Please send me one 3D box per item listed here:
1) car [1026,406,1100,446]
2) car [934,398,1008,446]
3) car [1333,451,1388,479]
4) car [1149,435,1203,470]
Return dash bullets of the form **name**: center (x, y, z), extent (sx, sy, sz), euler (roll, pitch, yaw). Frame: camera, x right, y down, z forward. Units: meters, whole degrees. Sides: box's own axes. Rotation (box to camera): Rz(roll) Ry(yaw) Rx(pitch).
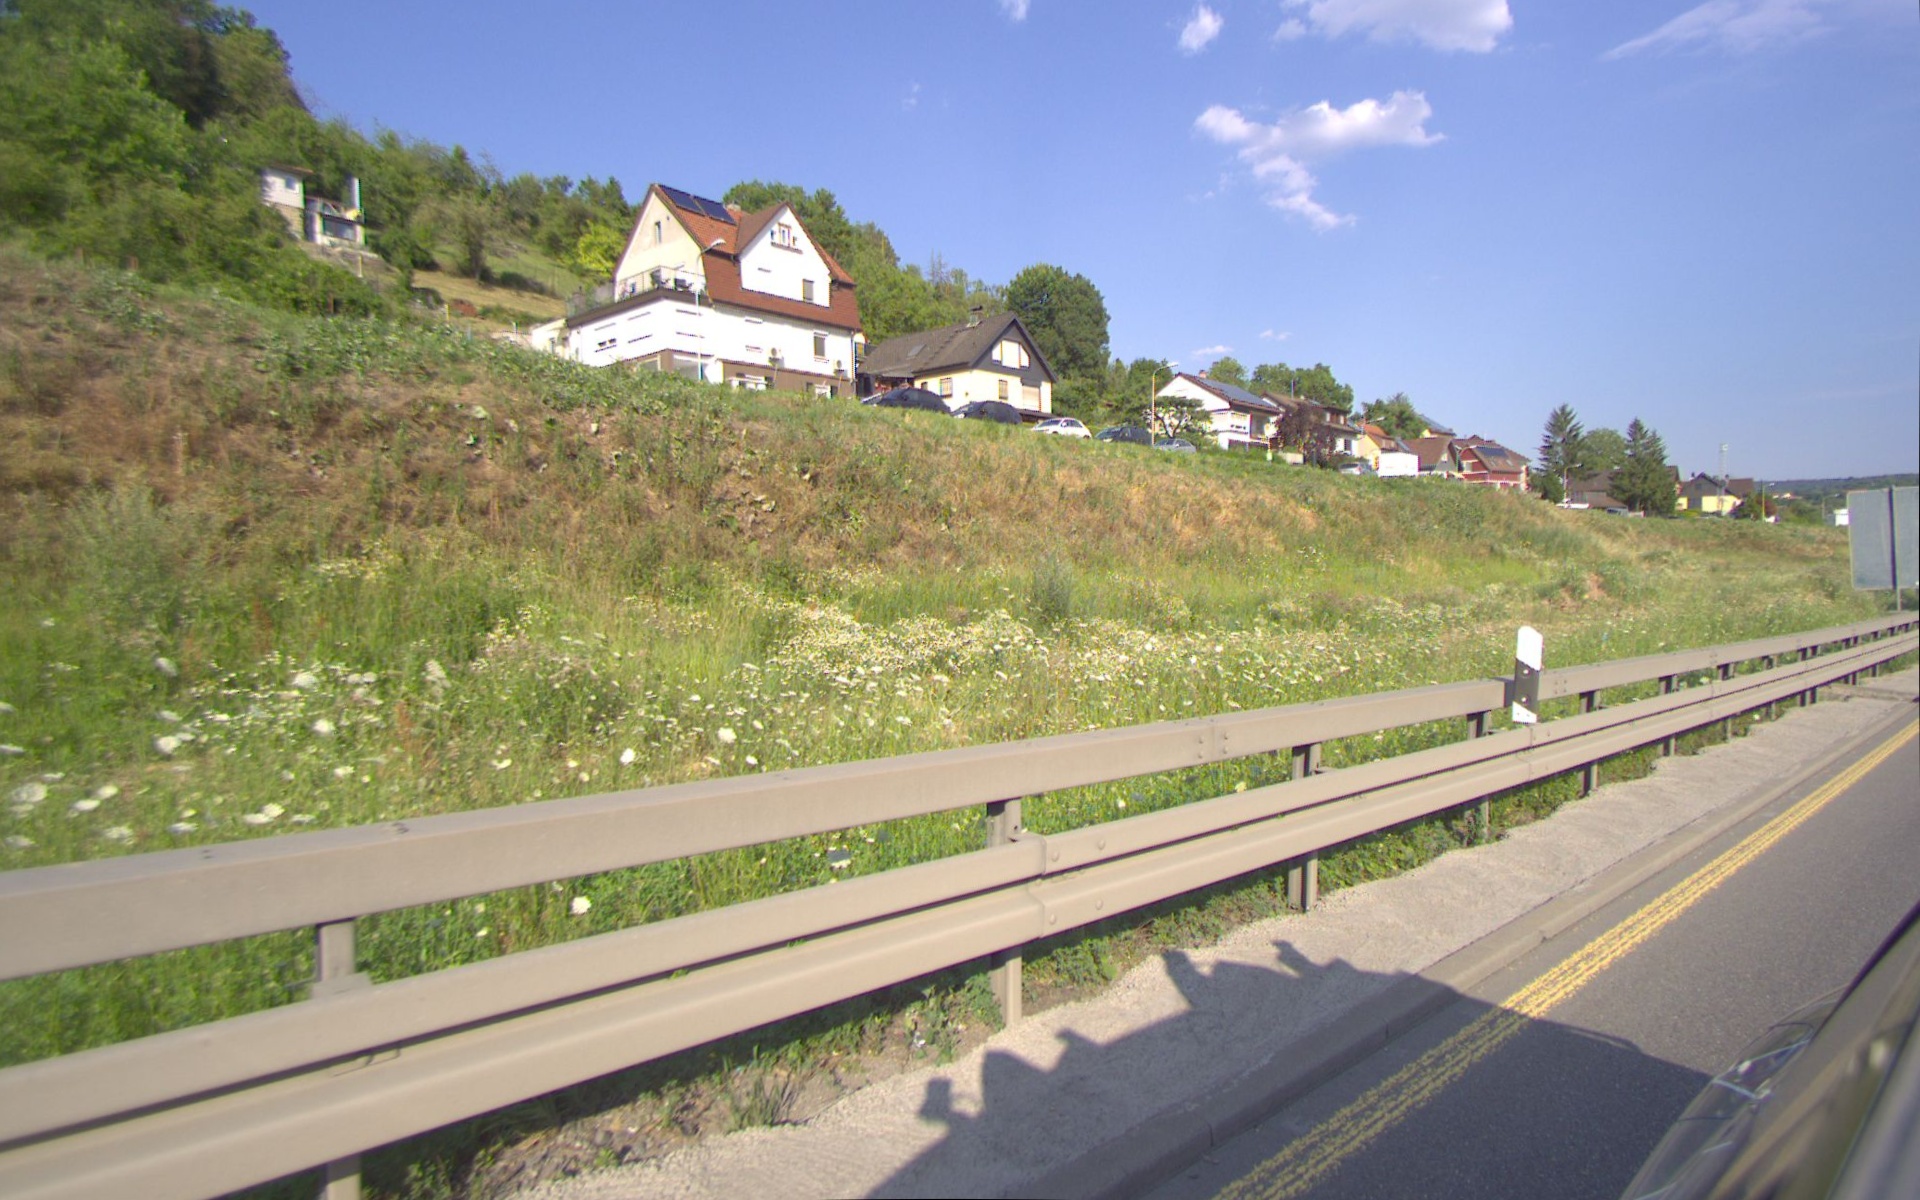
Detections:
- **car**: center (4.752, -7.950, 46.423), extent (1.343, 1.248, 3.840), euler (0, 1, 43)
- **car**: center (0.479, -7.295, 41.731), extent (1.356, 1.476, 3.185), euler (0, 1, 41)
- **car**: center (27.759, -9.312, 70.159), extent (3.931, 1.460, 1.997), euler (-1, 1, -41)
- **car**: center (11.558, -7.828, 54.039), extent (1.443, 1.389, 3.508), euler (0, 1, 39)
